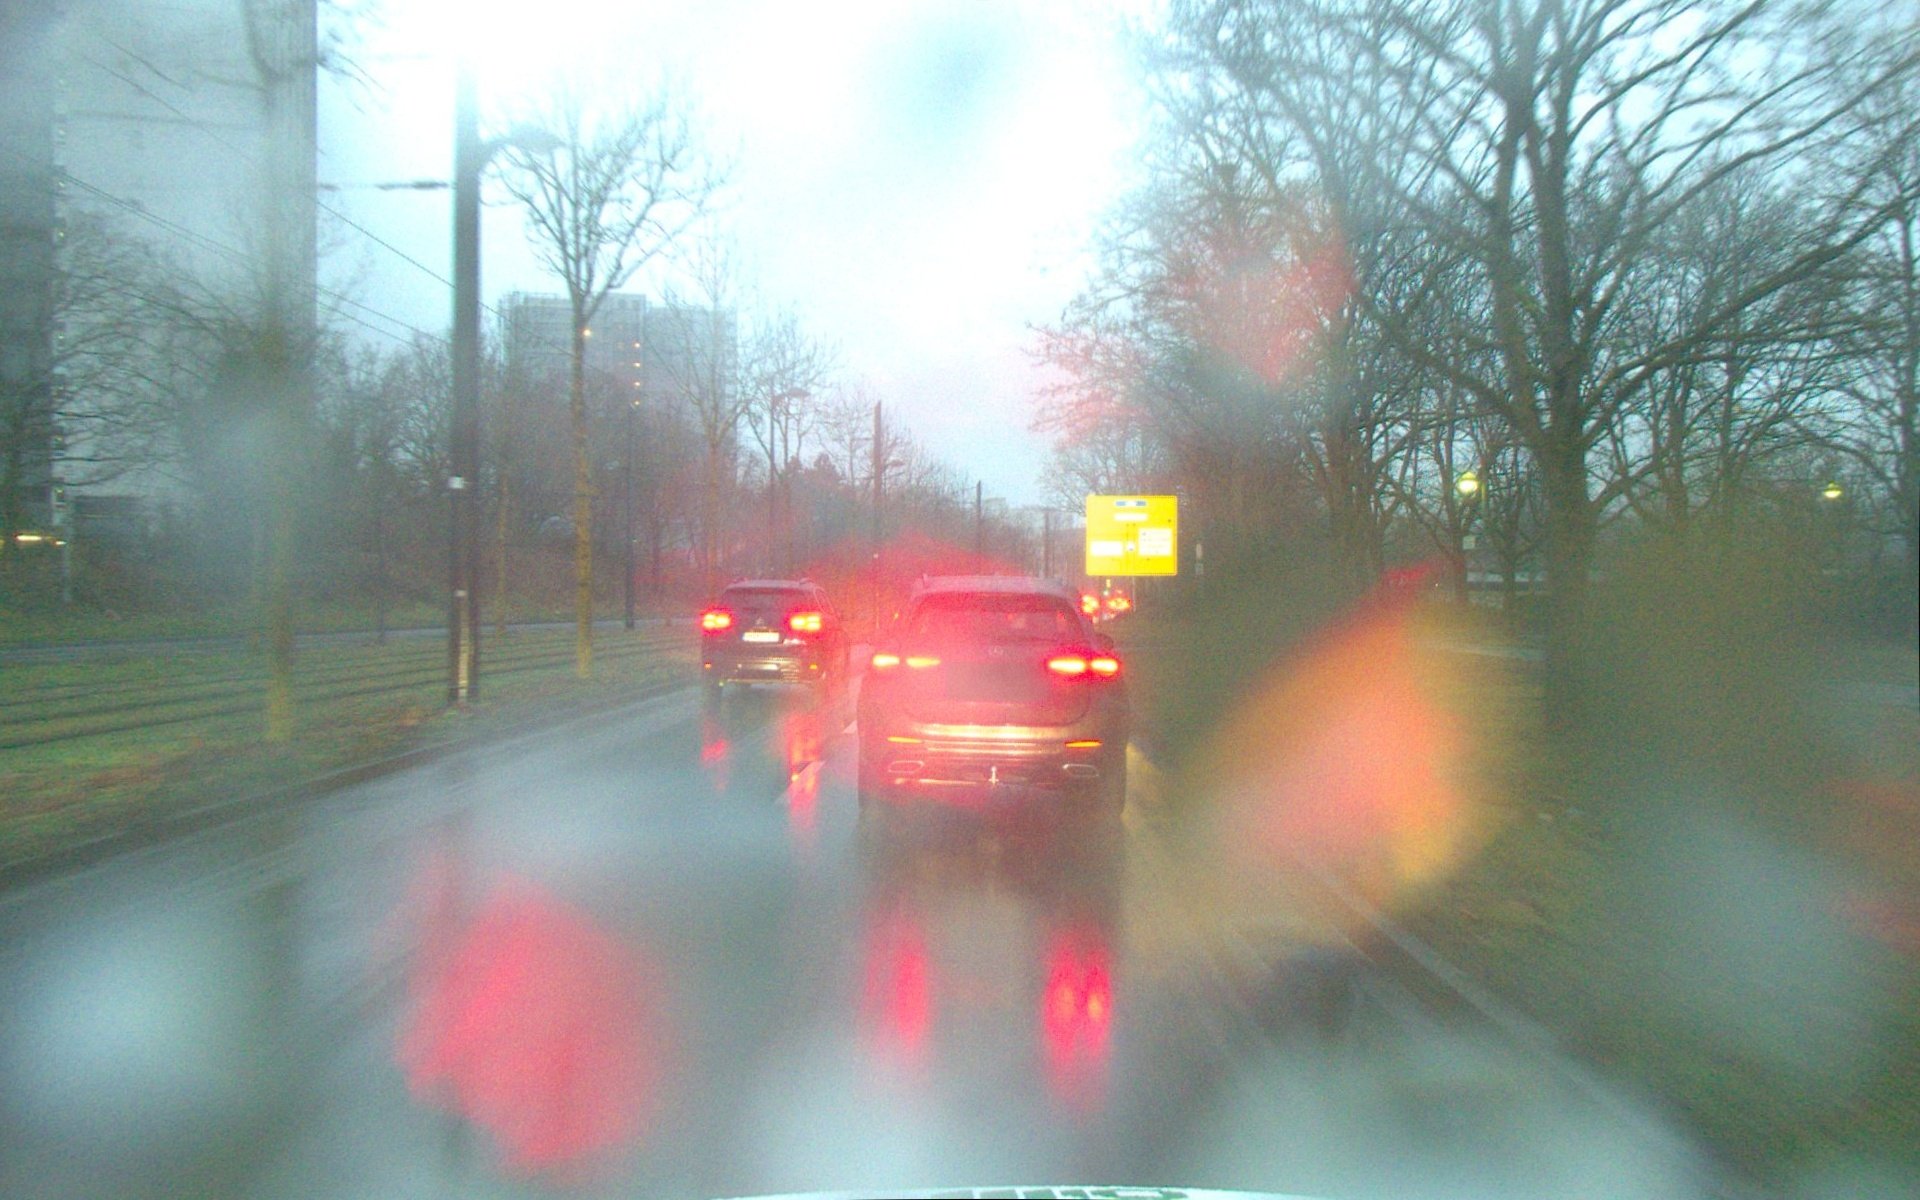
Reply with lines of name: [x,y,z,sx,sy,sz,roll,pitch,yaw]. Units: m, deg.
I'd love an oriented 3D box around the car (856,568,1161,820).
car: [0.256,0.597,12.751,1.958,1.612,3.999,1,0,-2]

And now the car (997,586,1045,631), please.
car: [2.239,0.294,59.913,1.673,1.585,3.997,0,0,3]

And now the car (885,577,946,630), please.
car: [-1.370,0.086,52.032,1.842,1.621,3.999,0,1,-1]

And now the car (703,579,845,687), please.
car: [-2.697,0.428,24.785,1.842,1.485,3.998,0,1,-3]
